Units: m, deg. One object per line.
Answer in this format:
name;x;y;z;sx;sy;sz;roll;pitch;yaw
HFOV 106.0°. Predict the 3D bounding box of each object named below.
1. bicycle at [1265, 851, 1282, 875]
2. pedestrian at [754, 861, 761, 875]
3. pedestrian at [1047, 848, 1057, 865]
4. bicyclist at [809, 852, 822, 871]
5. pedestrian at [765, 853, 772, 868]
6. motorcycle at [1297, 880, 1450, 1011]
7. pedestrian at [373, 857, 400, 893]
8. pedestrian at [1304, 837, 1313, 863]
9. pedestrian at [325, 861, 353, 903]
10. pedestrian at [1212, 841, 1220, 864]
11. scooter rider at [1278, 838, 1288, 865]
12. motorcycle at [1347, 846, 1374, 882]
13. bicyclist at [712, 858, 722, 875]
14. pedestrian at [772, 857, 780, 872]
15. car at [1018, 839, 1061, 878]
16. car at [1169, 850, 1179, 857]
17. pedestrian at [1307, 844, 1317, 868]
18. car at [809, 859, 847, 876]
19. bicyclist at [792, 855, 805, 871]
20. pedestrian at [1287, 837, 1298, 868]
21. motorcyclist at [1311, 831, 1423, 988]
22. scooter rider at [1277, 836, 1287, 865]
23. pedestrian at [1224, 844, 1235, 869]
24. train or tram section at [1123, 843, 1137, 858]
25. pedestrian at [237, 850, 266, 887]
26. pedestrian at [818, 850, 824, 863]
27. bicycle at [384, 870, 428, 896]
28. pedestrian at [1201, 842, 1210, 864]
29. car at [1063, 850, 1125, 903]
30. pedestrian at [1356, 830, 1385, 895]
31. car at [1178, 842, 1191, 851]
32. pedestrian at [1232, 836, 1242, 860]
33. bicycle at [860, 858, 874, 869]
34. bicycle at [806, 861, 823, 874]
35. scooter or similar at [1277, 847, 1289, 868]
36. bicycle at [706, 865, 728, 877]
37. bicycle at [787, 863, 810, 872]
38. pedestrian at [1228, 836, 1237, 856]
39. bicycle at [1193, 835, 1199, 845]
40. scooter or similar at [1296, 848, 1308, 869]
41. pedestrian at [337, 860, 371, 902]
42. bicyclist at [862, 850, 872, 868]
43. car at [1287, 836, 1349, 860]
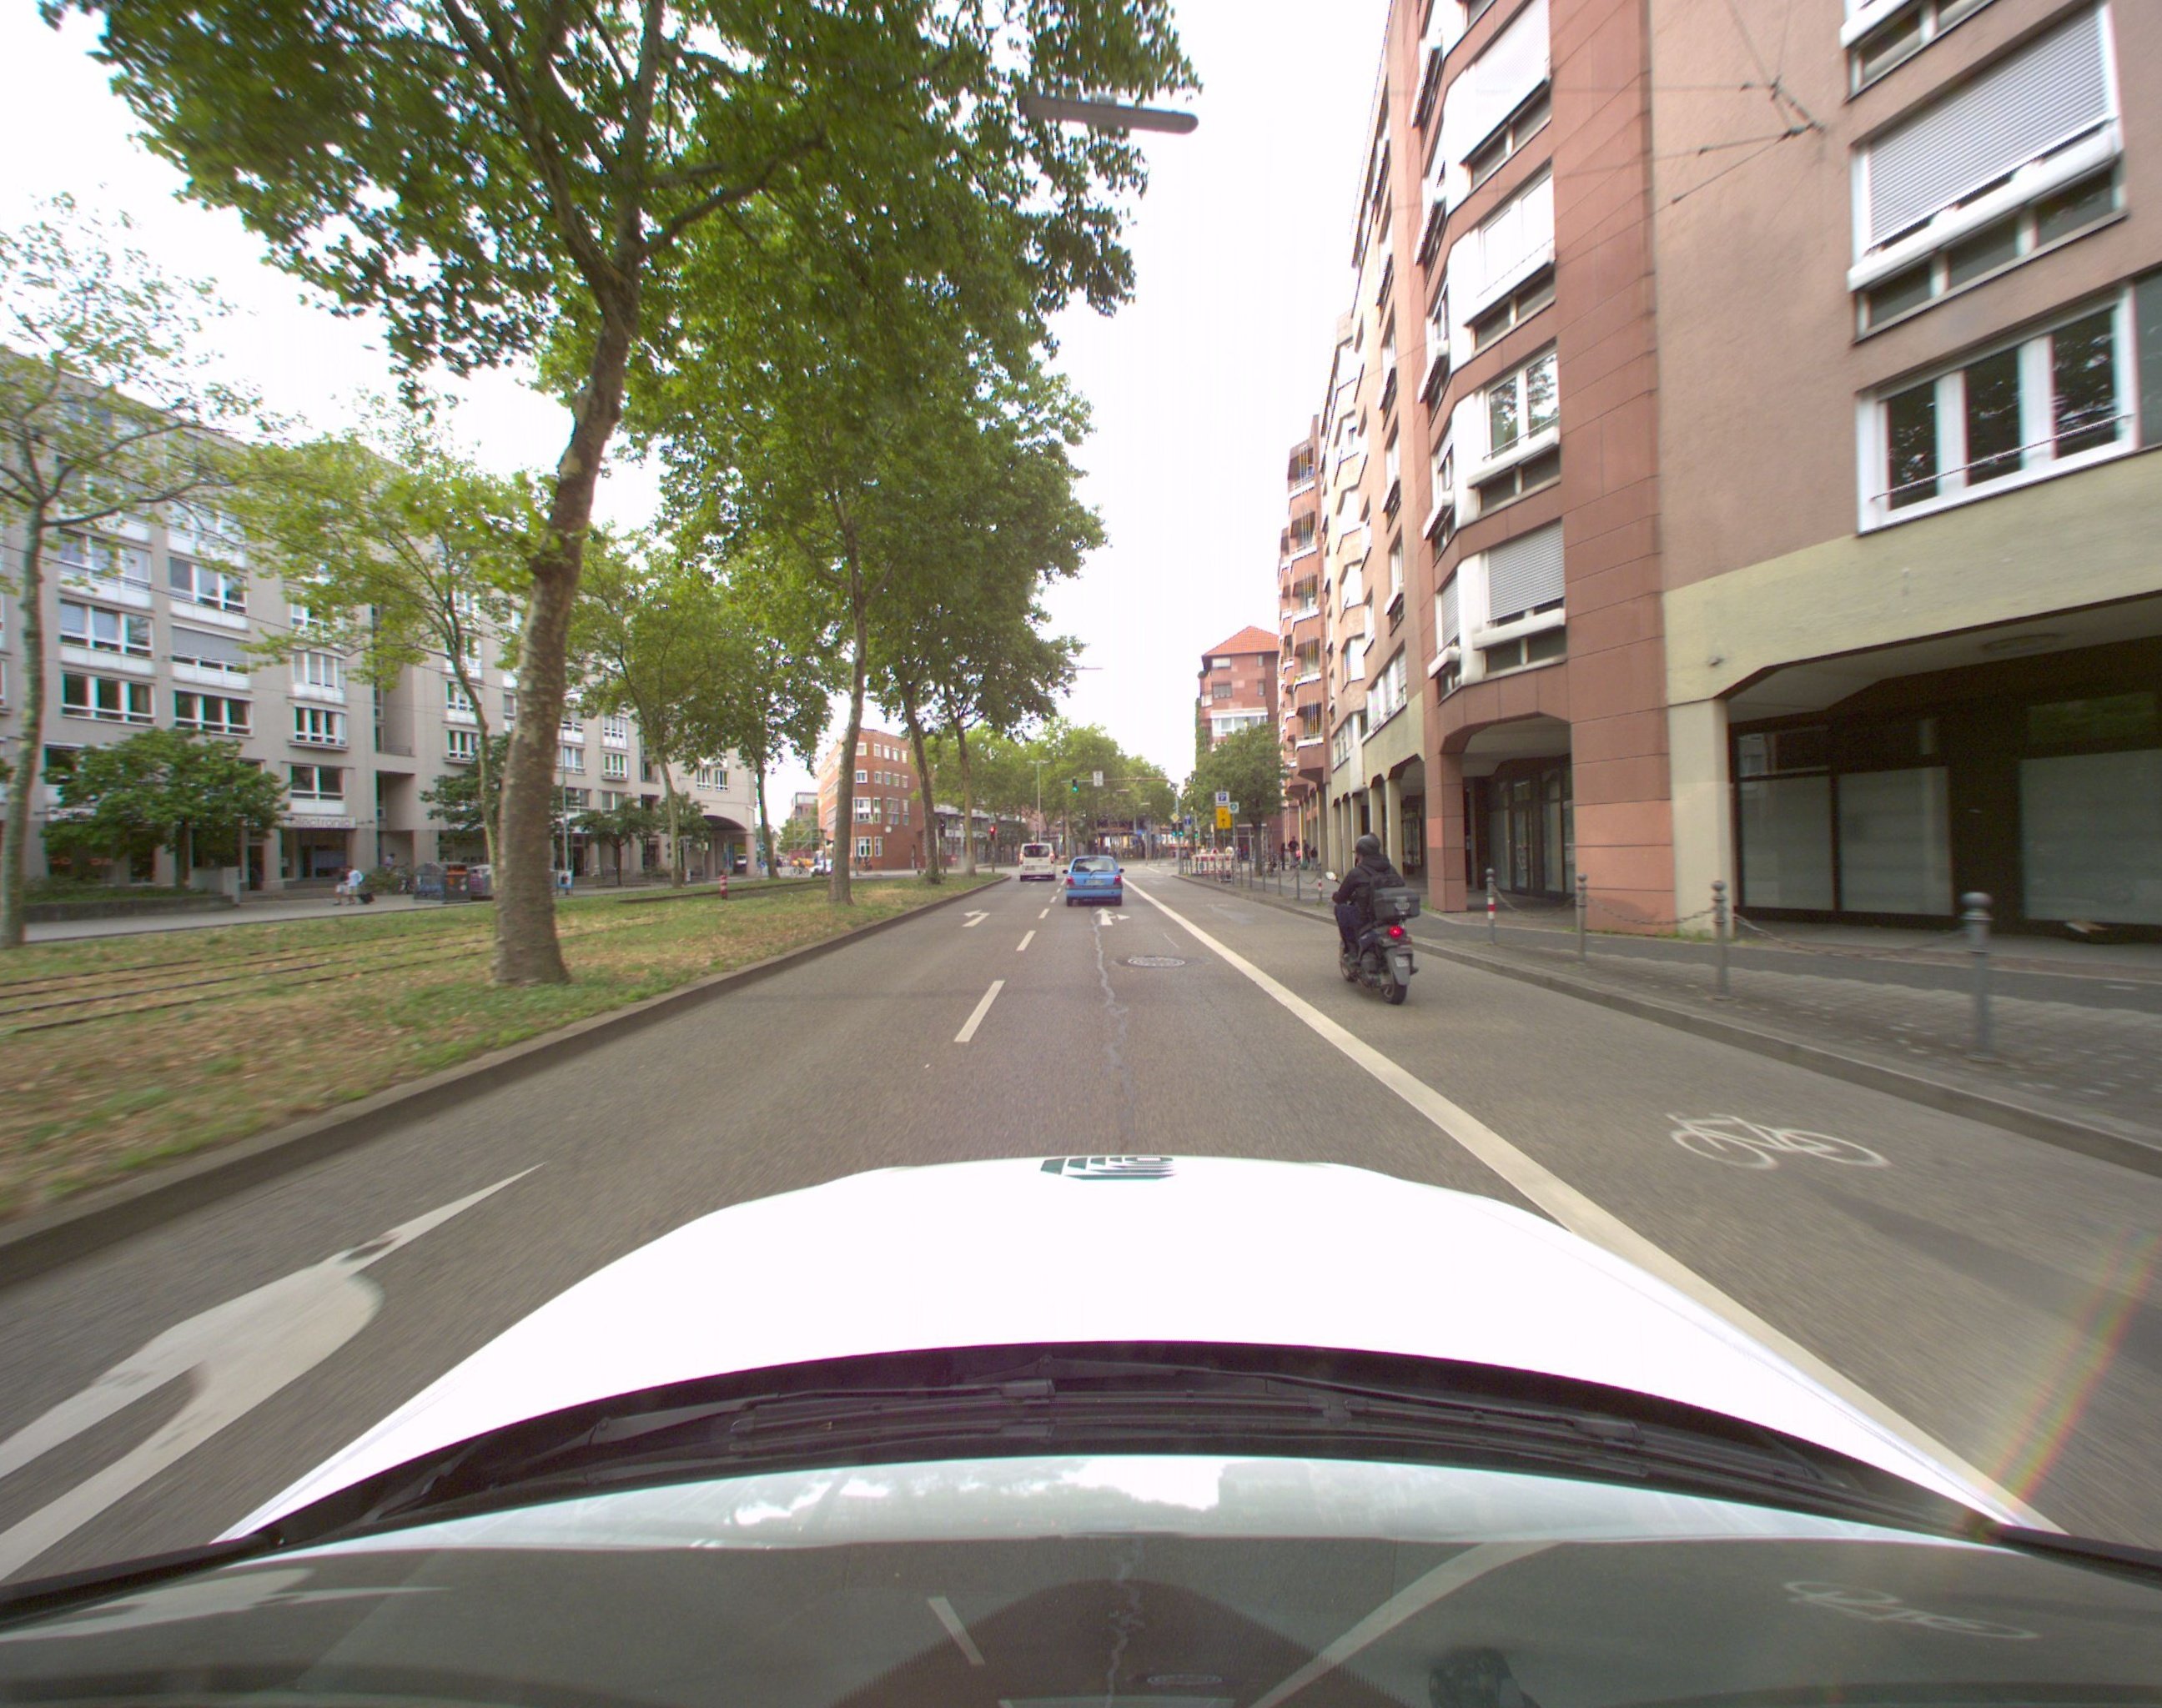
bicycle;8.990;0.407;38.073;0.609;1.118;1.808;-2;0;8
pedestrian;-47.114;2.082;118.686;0.867;2.013;1.333;-2;0;-24
pedestrian;-2.931;0.276;82.315;0.547;1.718;0.896;-2;0;27
bicyclist;-24.020;0.661;73.682;0.686;1.672;0.955;-2;0;7
pedestrian;-35.872;0.733;93.495;0.677;1.679;0.746;-2;0;-27
motorcycle;2.966;0.868;8.542;0.765;1.107;2.207;-2;0;0
pedestrian;-36.010;1.070;42.206;0.765;1.809;0.694;-2;0;10
pedestrian;13.561;-0.229;48.500;0.404;1.513;0.486;-2;0;9
pedestrian;-30.775;1.146;33.776;0.550;1.705;0.627;-2;0;4
pedestrian;9.789;-0.108;59.177;0.514;1.616;0.852;-2;0;7
scooter rider;11.743;-0.143;47.311;0.458;1.557;0.565;-2;0;4
motorcycle;9.815;0.340;28.622;0.612;1.156;1.910;-3;1;12
bicyclist;-35.365;1.228;79.156;0.788;1.672;0.567;-2;0;-36
pedestrian;-38.841;1.350;103.718;0.794;1.963;0.799;-2;0;-24
car;-2.141;0.211;43.472;1.925;1.925;4.955;-2;1;0
car;22.367;-0.148;195.662;1.874;1.624;4.014;-2;0;12
pedestrian;12.857;0.117;45.251;0.483;1.324;0.487;-2;0;14
car;-20.847;1.079;67.187;1.724;1.245;4.533;-2;0;0
bicyclist;-27.883;0.915;80.265;1.039;1.562;0.576;-2;0;-37
pedestrian;12.414;-0.100;47.867;0.548;1.799;0.659;-2;0;11
motorcyclist;2.952;0.546;8.511;0.757;1.519;1.017;-2;0;0
scooter rider;11.804;-0.216;47.913;0.460;1.720;0.554;-2;0;6
pedestrian;10.913;0.176;59.856;0.672;1.828;0.852;-2;0;7
train or tram section;11.775;-0.822;195.767;2.375;3.253;8.840;-2;0;9
pedestrian;-38.955;0.672;38.260;0.633;1.671;0.661;-2;0;9
pedestrian;-36.372;0.379;114.060;0.696;1.817;0.650;-1;0;-26
bicycle;-34.221;1.449;41.315;0.530;1.212;1.843;-2;0;8
pedestrian;9.075;-0.081;59.362;0.514;1.616;0.852;-2;0;5
car;0.386;0.596;23.860;1.635;1.386;3.843;-1;0;1
pedestrian;7.539;0.208;21.242;0.540;1.650;0.827;-2;0;9
car;17.756;-1.294;139.543;1.687;1.601;4.014;-2;1;12
pedestrian;11.471;-0.432;59.896;0.648;1.700;1.024;-2;0;8
bicycle;-23.090;1.046;88.029;0.674;1.093;2.212;-2;0;5
bicycle;-24.037;1.238;73.474;0.687;1.092;1.881;-2;0;8
scooter or similar;11.788;0.192;47.607;0.471;1.206;1.333;-2;0;6
bicycle;-35.378;1.632;79.138;1.885;1.092;0.571;-2;0;-37
bicycle;-27.858;1.357;80.276;1.997;0.836;0.572;-2;0;-37
pedestrian;12.378;-0.646;66.427;0.672;1.538;0.949;-2;0;8
bicycle;12.475;-1.489;88.561;0.614;1.008;1.738;-1;0;6
scooter or similar;12.983;0.254;47.859;0.550;1.170;1.410;-2;0;9
pedestrian;-30.206;1.123;33.847;0.550;1.705;0.885;-2;0;5
bicyclist;-23.104;0.549;88.042;0.663;1.848;1.083;-2;0;5
car;19.463;-0.490;67.024;4.794;1.826;2.007;-2;-2;12
